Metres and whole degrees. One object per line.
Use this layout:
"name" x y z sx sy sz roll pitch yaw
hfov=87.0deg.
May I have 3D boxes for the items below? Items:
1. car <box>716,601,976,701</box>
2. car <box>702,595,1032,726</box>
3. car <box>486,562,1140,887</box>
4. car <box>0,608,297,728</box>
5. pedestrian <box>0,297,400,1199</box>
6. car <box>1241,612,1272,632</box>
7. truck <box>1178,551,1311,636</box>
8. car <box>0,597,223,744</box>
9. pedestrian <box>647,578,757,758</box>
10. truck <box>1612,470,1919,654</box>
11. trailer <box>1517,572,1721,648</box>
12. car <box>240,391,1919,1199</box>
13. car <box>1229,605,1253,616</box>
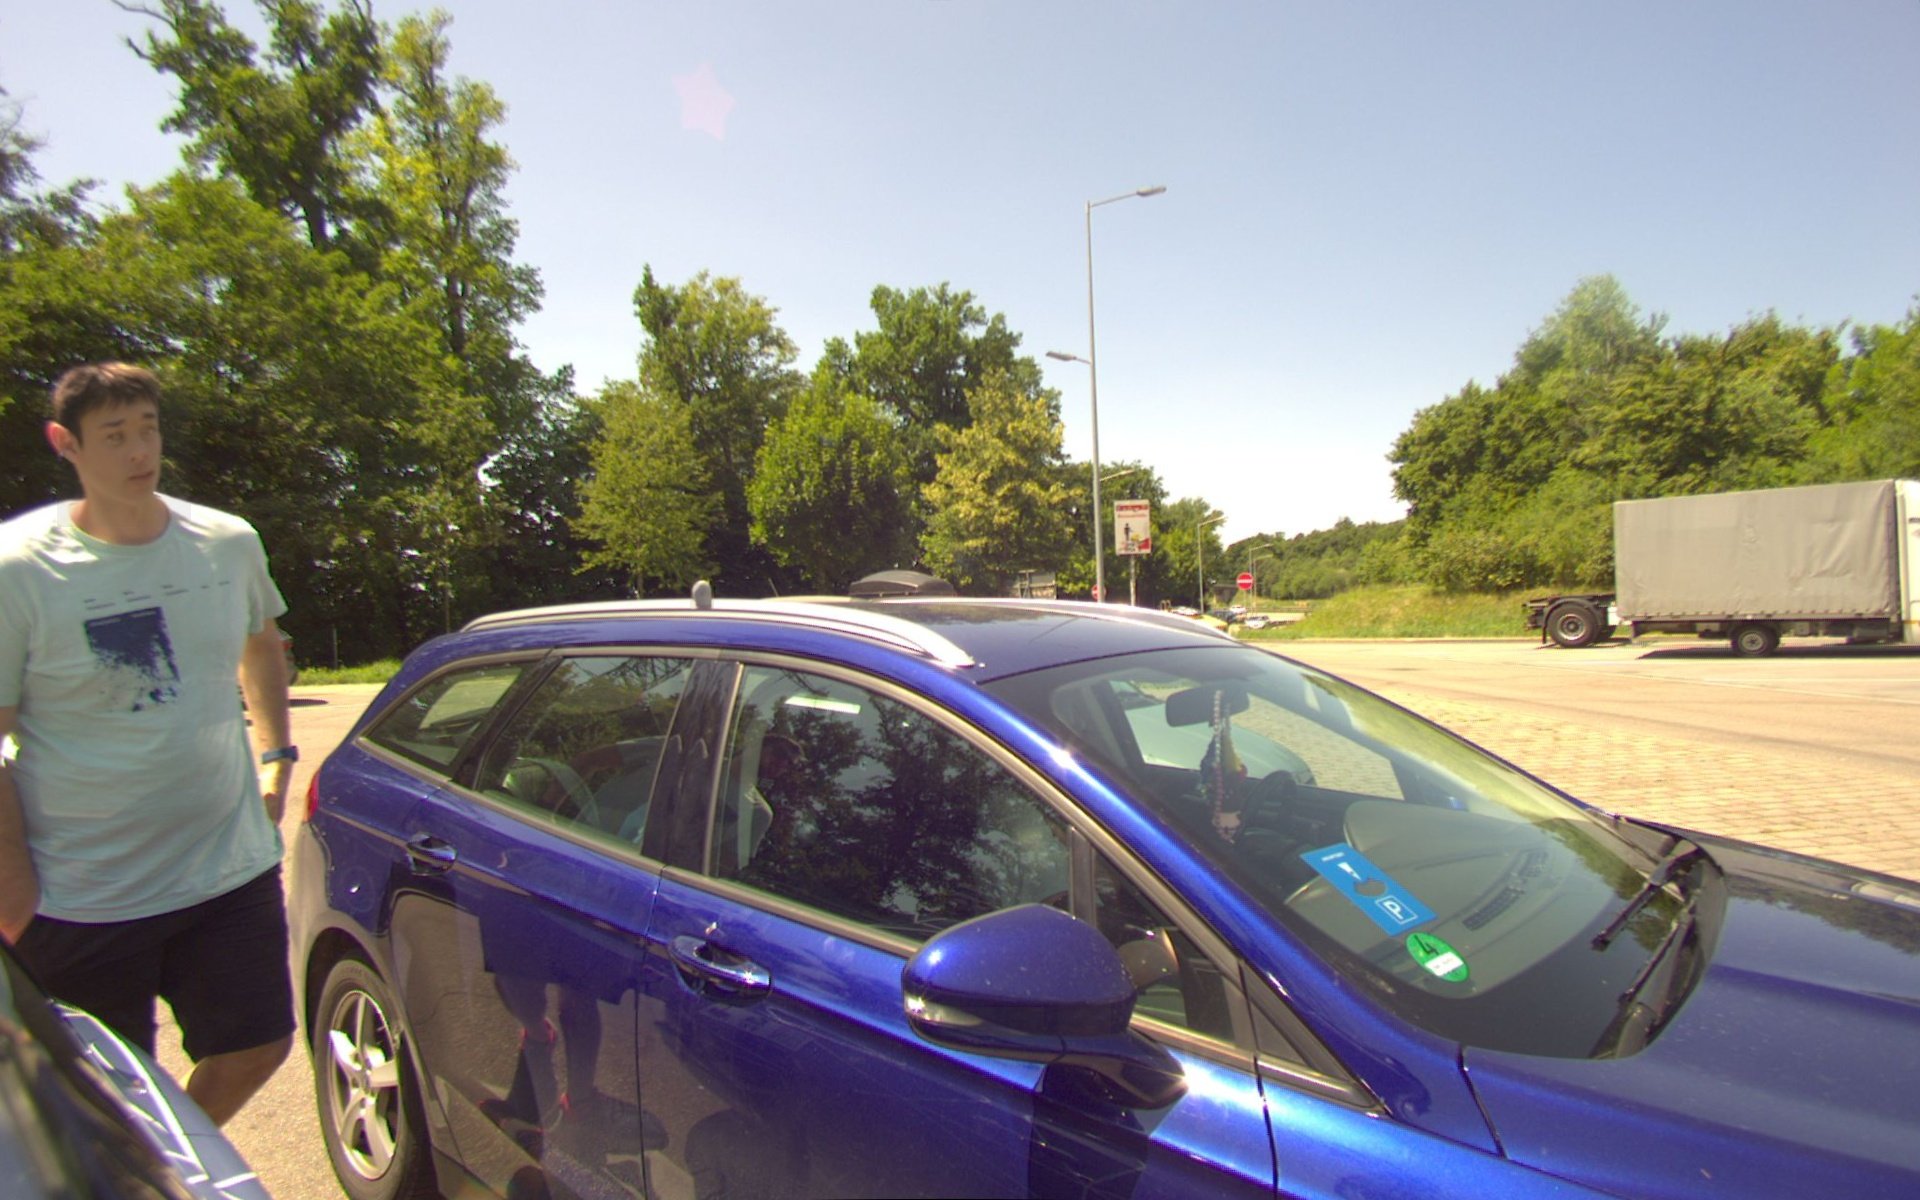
"car" -2.020 0.830 17.100 4.466 1.476 1.756 -3 -1 40
"car" -1.368 0.759 13.547 4.466 1.476 1.756 -3 -1 40
"car" -1.224 0.633 6.716 4.466 1.476 1.756 -3 -1 40
"car" -12.719 0.974 15.621 3.910 1.598 1.782 -1 -1 -43
"pedestrian" -1.506 0.414 1.844 0.578 1.722 0.678 -3 -2 41
"car" 23.644 1.748 80.524 1.986 1.530 3.971 -2 -1 21
"truck" 13.324 -0.248 47.434 5.782 3.720 1.987 -2 -1 20
"car" -11.690 0.849 12.570 3.910 1.701 1.782 -1 -1 -43
"pedestrian" -2.440 0.622 9.579 0.759 1.614 0.663 -3 -1 41
"truck" 16.730 -0.640 18.850 7.348 3.152 2.339 -3 -2 41
"trailer" 15.771 0.275 24.335 3.900 1.674 1.456 -2 -1 41
"car" 0.233 0.634 2.115 4.466 1.476 1.756 -3 -1 40
"car" 51.718 1.935 186.271 1.965 1.874 4.013 -1 -1 -23
